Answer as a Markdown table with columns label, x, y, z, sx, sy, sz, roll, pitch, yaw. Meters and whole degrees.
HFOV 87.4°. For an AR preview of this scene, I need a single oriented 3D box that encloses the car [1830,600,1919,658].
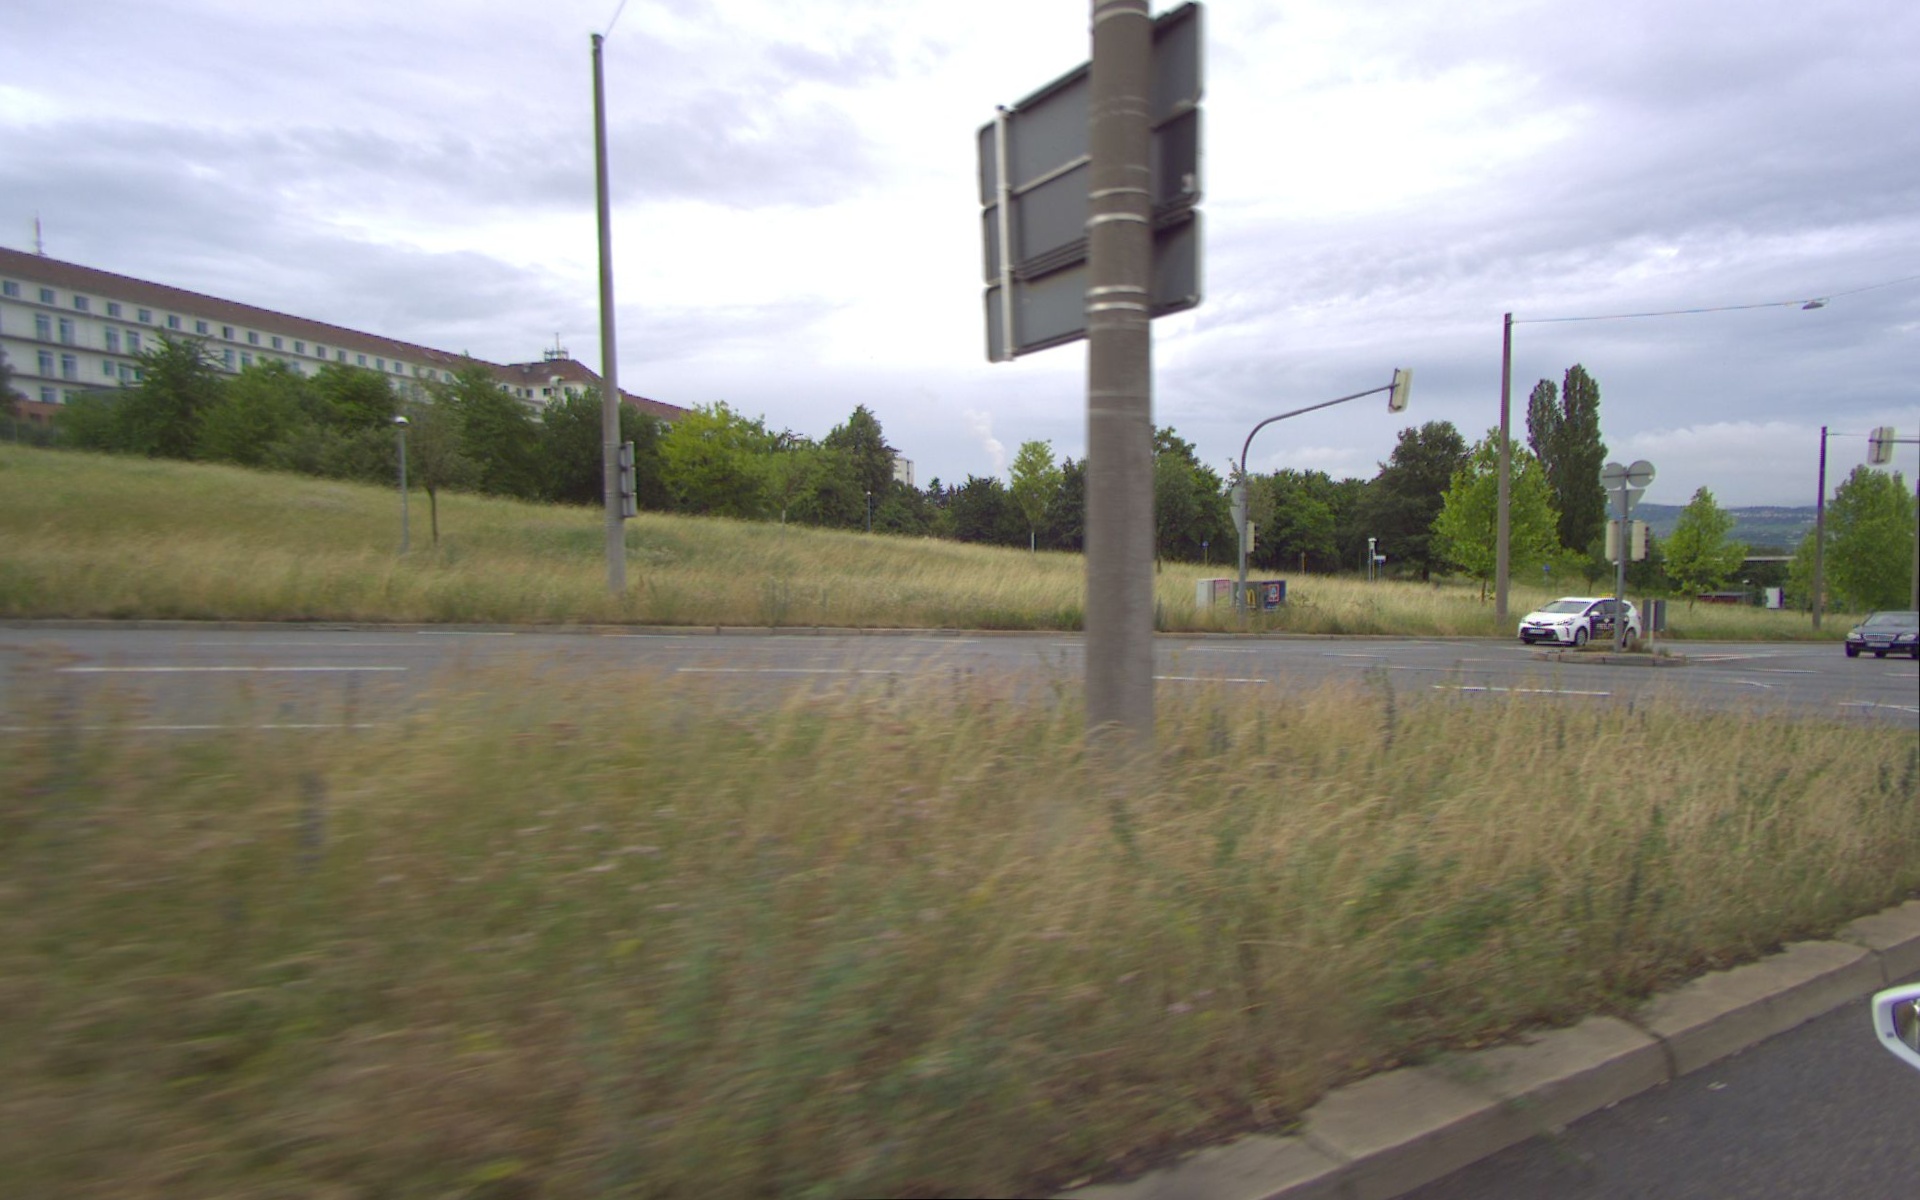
| label | x | y | z | sx | sy | sz | roll | pitch | yaw |
| --- | --- | --- | --- | --- | --- | --- | --- | --- | --- |
| car | 28.248 | 0.901 | 30.393 | 3.959 | 1.558 | 1.883 | 3 | 1 | -34 |

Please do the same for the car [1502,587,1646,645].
| label | x | y | z | sx | sy | sz | roll | pitch | yaw |
| --- | --- | --- | --- | --- | --- | --- | --- | --- | --- |
| car | 19.947 | 0.522 | 32.579 | 4.619 | 1.633 | 1.877 | 2 | 1 | -29 |
